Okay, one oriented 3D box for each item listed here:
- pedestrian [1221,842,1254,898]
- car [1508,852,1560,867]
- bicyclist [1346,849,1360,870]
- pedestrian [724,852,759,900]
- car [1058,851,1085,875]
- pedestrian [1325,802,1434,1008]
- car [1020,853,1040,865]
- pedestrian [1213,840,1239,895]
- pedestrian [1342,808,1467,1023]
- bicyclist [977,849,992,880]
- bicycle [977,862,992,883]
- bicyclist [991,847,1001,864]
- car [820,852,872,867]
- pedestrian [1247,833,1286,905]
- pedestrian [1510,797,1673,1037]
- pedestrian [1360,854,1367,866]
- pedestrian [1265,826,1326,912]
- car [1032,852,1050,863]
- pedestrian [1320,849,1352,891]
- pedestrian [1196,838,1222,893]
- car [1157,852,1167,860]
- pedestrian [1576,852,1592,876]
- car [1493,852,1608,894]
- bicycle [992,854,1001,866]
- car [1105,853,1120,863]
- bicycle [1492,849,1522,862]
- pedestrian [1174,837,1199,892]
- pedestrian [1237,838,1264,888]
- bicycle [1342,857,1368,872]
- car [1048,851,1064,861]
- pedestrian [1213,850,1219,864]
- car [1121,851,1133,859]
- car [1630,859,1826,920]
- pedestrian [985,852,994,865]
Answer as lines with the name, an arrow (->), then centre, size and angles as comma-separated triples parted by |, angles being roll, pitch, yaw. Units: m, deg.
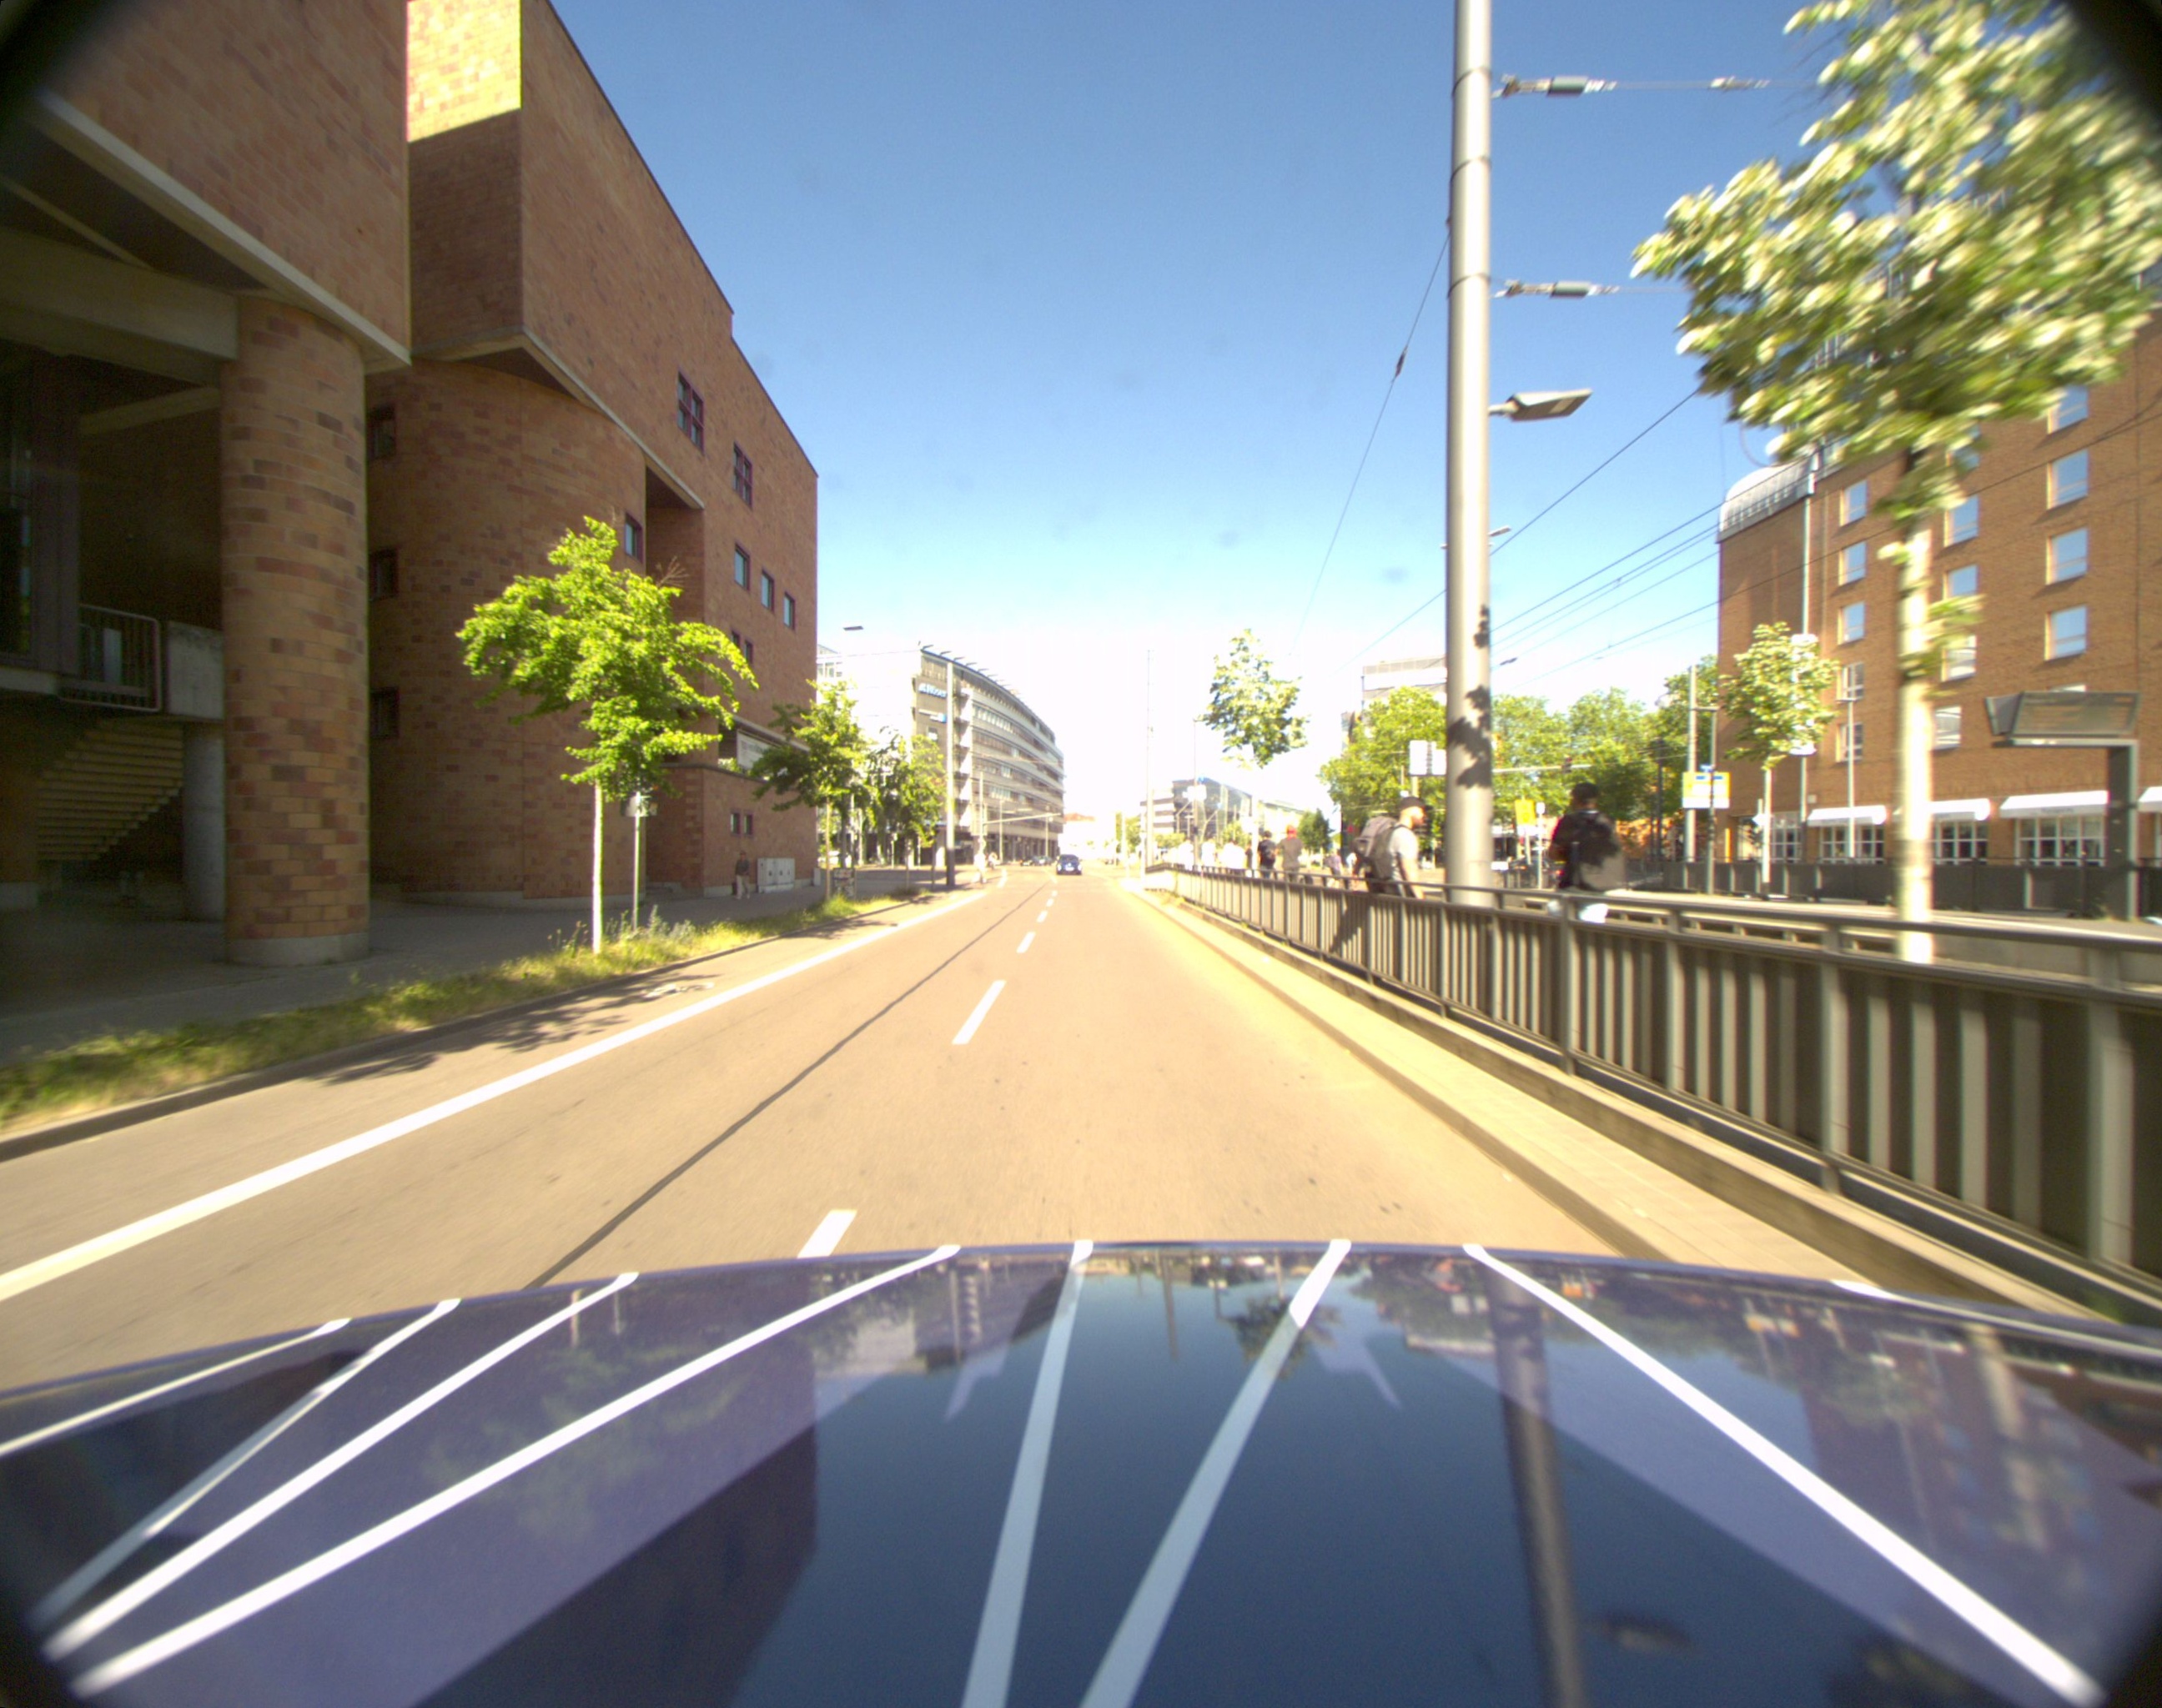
pedestrian -> 4.583, 0.471, 22.316 | 0.756, 1.609, 0.775 | 0, 1, -2
car -> 46.435, 0.547, 77.990 | 4.169, 1.499, 1.910 | 0, 1, 4
bicyclist -> 21.170, 0.414, 59.148 | 0.848, 1.630, 0.779 | 0, 1, 9
pedestrian -> -11.594, 0.725, 25.978 | 0.790, 1.610, 0.976 | 0, 1, -1
car -> -0.692, 0.631, 56.643 | 1.802, 1.597, 3.999 | -1, 1, 1
pedestrian -> 2.837, 0.466, 7.278 | 0.748, 1.874, 0.715 | 0, 1, 1
car -> -6.984, 0.664, 103.751 | 1.882, 1.456, 4.002 | -1, 1, 8
pedestrian -> 4.667, 0.427, 24.469 | 0.649, 1.764, 0.820 | 0, 1, -2
pedestrian -> 2.738, 0.495, 6.509 | 0.748, 1.738, 0.715 | 0, 1, 1
bicyclist -> -5.494, 0.593, 43.255 | 0.684, 1.718, 0.909 | -2, 1, 2
bicycle -> -5.484, 1.049, 43.354 | 0.578, 1.090, 1.507 | -2, 0, 3
bicyclist -> -8.260, 0.158, 73.768 | 0.755, 1.607, 0.762 | -2, 1, 4
car -> -24.086, 0.534, 78.034 | 4.849, 1.548, 1.935 | 0, 1, -4
pedestrian -> 4.738, 0.376, 19.495 | 0.756, 1.800, 0.840 | 0, 1, -2
pedestrian -> 3.855, 0.447, 5.796 | 0.710, 1.713, 0.752 | 0, 1, 0
pedestrian -> 34.850, 0.761, 93.675 | 0.663, 1.389, 0.673 | 0, 1, 13
pedestrian -> 4.644, 0.313, 16.502 | 0.994, 1.800, 1.022 | 0, 1, -2
car -> -5.852, 0.473, 111.872 | 1.882, 1.456, 4.002 | -1, 1, 8
pedestrian -> 10.326, 0.633, 30.800 | 0.960, 1.680, 1.007 | 0, 1, 3
pedestrian -> 4.117, 0.356, 24.535 | 0.649, 1.733, 0.820 | 0, 1, -2
car -> 17.240, 0.449, 161.858 | 1.953, 1.456, 4.002 | -1, 1, 9
pedestrian -> 36.861, 0.715, 55.684 | 0.645, 1.696, 0.728 | 0, 1, 5
car -> 18.104, 0.671, 29.551 | 1.936, 1.489, 4.289 | 0, 1, 2
bicycle -> -8.256, 0.580, 73.896 | 0.578, 1.090, 1.507 | -2, 0, 4
car -> 5.052, 0.693, 121.356 | 1.882, 1.456, 4.002 | -1, 1, 9
bicycle -> 48.350, 0.162, 86.215 | 2.844, 1.528, 0.904 | 0, 1, 7
pedestrian -> 3.383, 0.342, 24.472 | 0.649, 1.733, 0.820 | 0, 1, -2
pedestrian -> 5.423, 0.277, 24.293 | 0.610, 1.560, 0.908 | 0, 1, -2
bicycle -> 21.292, 0.807, 59.104 | 1.838, 1.093, 0.638 | 0, 1, 10
car -> -3.868, 0.292, 119.808 | 1.882, 1.456, 4.002 | -1, 1, 8
pedestrian -> 15.962, 0.338, 89.813 | 0.580, 1.625, 0.548 | 0, 1, 13
car -> 8.445, 0.153, 138.604 | 1.882, 1.456, 4.002 | -1, 1, 8
car -> 17.890, 0.920, 21.341 | 1.936, 1.489, 4.289 | 0, 0, 2
pedestrian -> -11.307, 0.569, 94.208 | 0.858, 1.678, 0.802 | 1, 1, 14
